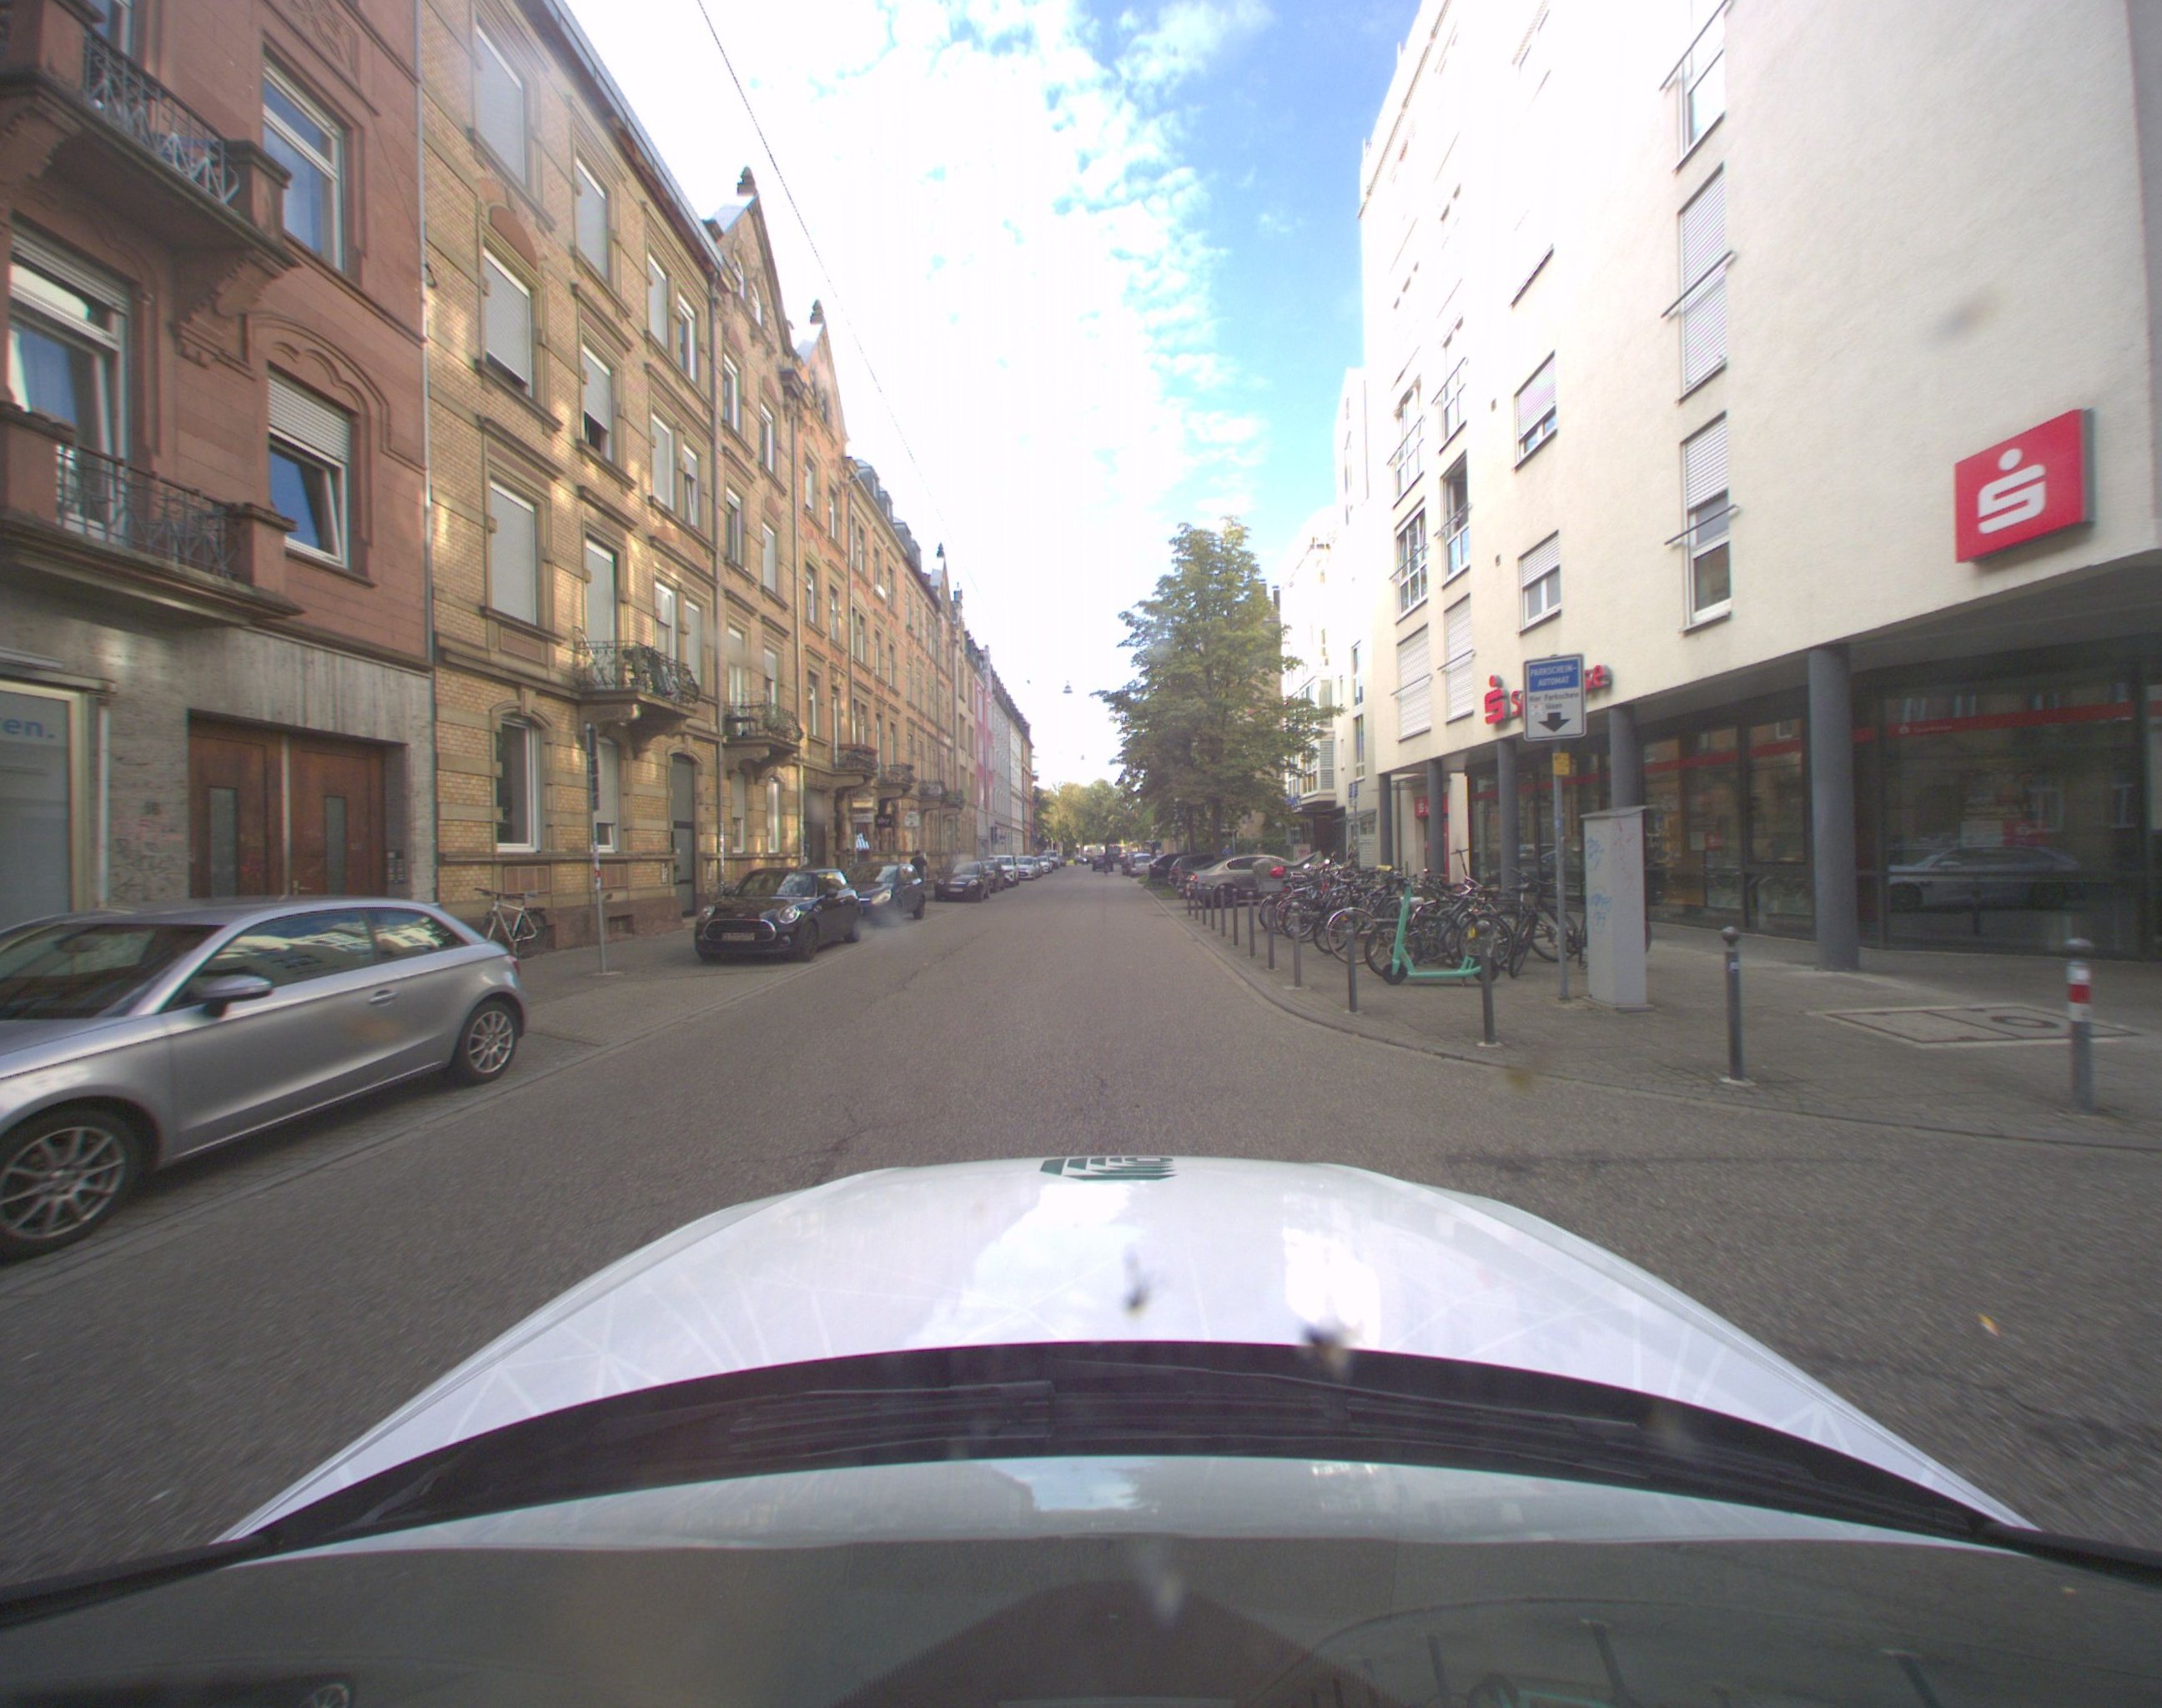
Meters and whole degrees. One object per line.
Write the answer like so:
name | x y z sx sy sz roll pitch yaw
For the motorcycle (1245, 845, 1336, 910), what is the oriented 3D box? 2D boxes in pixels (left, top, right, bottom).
motorcycle | 5.429 0.593 21.171 2.140 1.530 0.687 -4 0 5

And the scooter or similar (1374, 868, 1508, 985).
scooter or similar | 3.813 0.763 8.663 1.193 1.147 0.381 -4 1 33

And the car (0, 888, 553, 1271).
car | -5.092 0.958 4.565 1.684 1.386 3.867 0 0 1

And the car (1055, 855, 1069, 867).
car | -2.567 0.890 110.771 1.581 1.539 3.756 0 0 3

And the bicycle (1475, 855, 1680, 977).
bicycle | 5.354 0.654 8.849 1.758 1.162 0.651 -4 0 3

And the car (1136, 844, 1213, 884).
car | 5.080 0.516 44.360 3.968 1.683 1.740 -4 8 5

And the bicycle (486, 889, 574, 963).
bicycle | -8.462 1.081 12.562 0.434 1.015 1.296 1 0 0

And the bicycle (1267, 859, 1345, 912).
bicycle | 5.364 0.745 19.473 1.657 1.159 0.557 -4 0 2

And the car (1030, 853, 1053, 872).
car | -3.330 0.737 69.605 1.684 1.550 3.867 0 0 1

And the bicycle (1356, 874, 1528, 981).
bicycle | 4.094 0.815 9.272 1.762 1.056 0.411 -4 0 -4

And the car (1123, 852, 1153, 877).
car | 3.919 0.690 56.586 1.923 1.638 4.002 0 0 2

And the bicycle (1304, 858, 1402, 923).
bicycle | 5.393 0.711 16.211 1.725 1.159 0.500 -4 0 2

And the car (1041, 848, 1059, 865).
car | -3.264 0.273 85.630 1.684 1.821 3.867 0 0 1

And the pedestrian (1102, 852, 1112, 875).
pedestrian | 1.930 0.683 60.037 0.715 1.650 0.931 0 0 2

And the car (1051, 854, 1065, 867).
car | -2.833 0.801 101.068 1.684 1.550 3.867 0 0 1

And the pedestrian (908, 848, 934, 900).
pedestrian | -5.749 0.710 29.328 0.686 1.853 0.932 0 0 3

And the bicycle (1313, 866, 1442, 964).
bicycle | 3.863 0.786 10.654 1.492 1.146 0.411 -4 0 -4

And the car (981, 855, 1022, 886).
car | -4.058 0.811 42.212 1.684 1.550 3.867 0 0 1

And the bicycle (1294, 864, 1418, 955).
bicycle | 3.989 0.774 11.809 1.771 1.146 0.409 -4 0 -19

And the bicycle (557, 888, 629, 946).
bicycle | -8.436 1.063 14.125 0.434 0.897 1.296 1 0 0

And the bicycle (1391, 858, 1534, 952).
bicycle | 5.244 0.692 11.221 1.762 1.146 0.411 -4 0 -5

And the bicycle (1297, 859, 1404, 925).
bicycle | 5.029 0.719 15.243 1.777 1.159 0.503 -3 0 27

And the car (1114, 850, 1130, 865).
car | 4.404 0.386 87.189 1.582 1.539 3.753 0 0 1

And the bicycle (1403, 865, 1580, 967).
bicycle | 4.950 0.734 9.902 1.758 1.087 0.651 -4 0 3

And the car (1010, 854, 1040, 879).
car | -3.726 0.808 54.339 1.684 1.550 3.867 0 0 1

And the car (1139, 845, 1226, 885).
car | 4.872 0.514 39.198 3.967 1.640 2.004 -3 0 6

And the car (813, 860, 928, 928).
car | -4.868 0.881 19.387 1.684 1.437 3.867 0 0 1

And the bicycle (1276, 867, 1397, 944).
bicycle | 4.114 0.827 13.171 1.758 1.099 0.412 -4 0 4

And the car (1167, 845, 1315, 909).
car | 4.549 0.637 23.381 3.759 1.546 1.725 -3 -1 -9

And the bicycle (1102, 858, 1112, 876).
bicycle | 1.922 0.970 59.751 0.715 1.274 1.885 0 0 2

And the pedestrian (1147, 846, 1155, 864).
pedestrian | 8.499 0.116 99.142 0.991 2.230 0.899 0 0 2

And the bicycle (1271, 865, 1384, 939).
bicycle | 4.194 0.815 13.915 1.758 1.118 0.412 -4 0 4

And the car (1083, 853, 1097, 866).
car | 1.233 0.733 111.760 1.848 1.621 4.002 0 0 2

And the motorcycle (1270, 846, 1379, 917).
motorcycle | 5.393 0.601 18.128 2.140 1.434 0.766 -4 0 5

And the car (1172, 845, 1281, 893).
car | 5.564 0.548 31.656 3.967 1.583 2.004 -3 0 6

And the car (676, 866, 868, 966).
car | -4.940 0.913 13.636 1.684 1.386 3.867 0 0 1

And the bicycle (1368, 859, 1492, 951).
bicycle | 5.035 0.709 11.727 1.771 1.146 0.409 -4 0 -19

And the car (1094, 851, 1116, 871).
car | 2.202 0.622 74.856 1.958 1.740 4.042 -1 0 1

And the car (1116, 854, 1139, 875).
car | 3.462 0.784 61.067 1.683 1.550 3.690 0 0 2

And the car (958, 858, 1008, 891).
car | -4.409 0.913 37.198 1.684 1.369 3.867 2 0 1

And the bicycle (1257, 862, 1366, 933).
bicycle | 4.187 0.789 14.849 1.786 1.159 0.501 -4 0 4

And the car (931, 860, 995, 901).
car | -4.294 0.930 30.152 1.684 1.369 3.867 2 0 1

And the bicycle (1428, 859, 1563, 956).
bicycle | 5.419 0.688 10.679 1.490 1.146 0.411 -4 0 1

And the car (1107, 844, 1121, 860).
car | 4.276 -0.237 106.517 1.776 2.020 3.888 0 0 0
